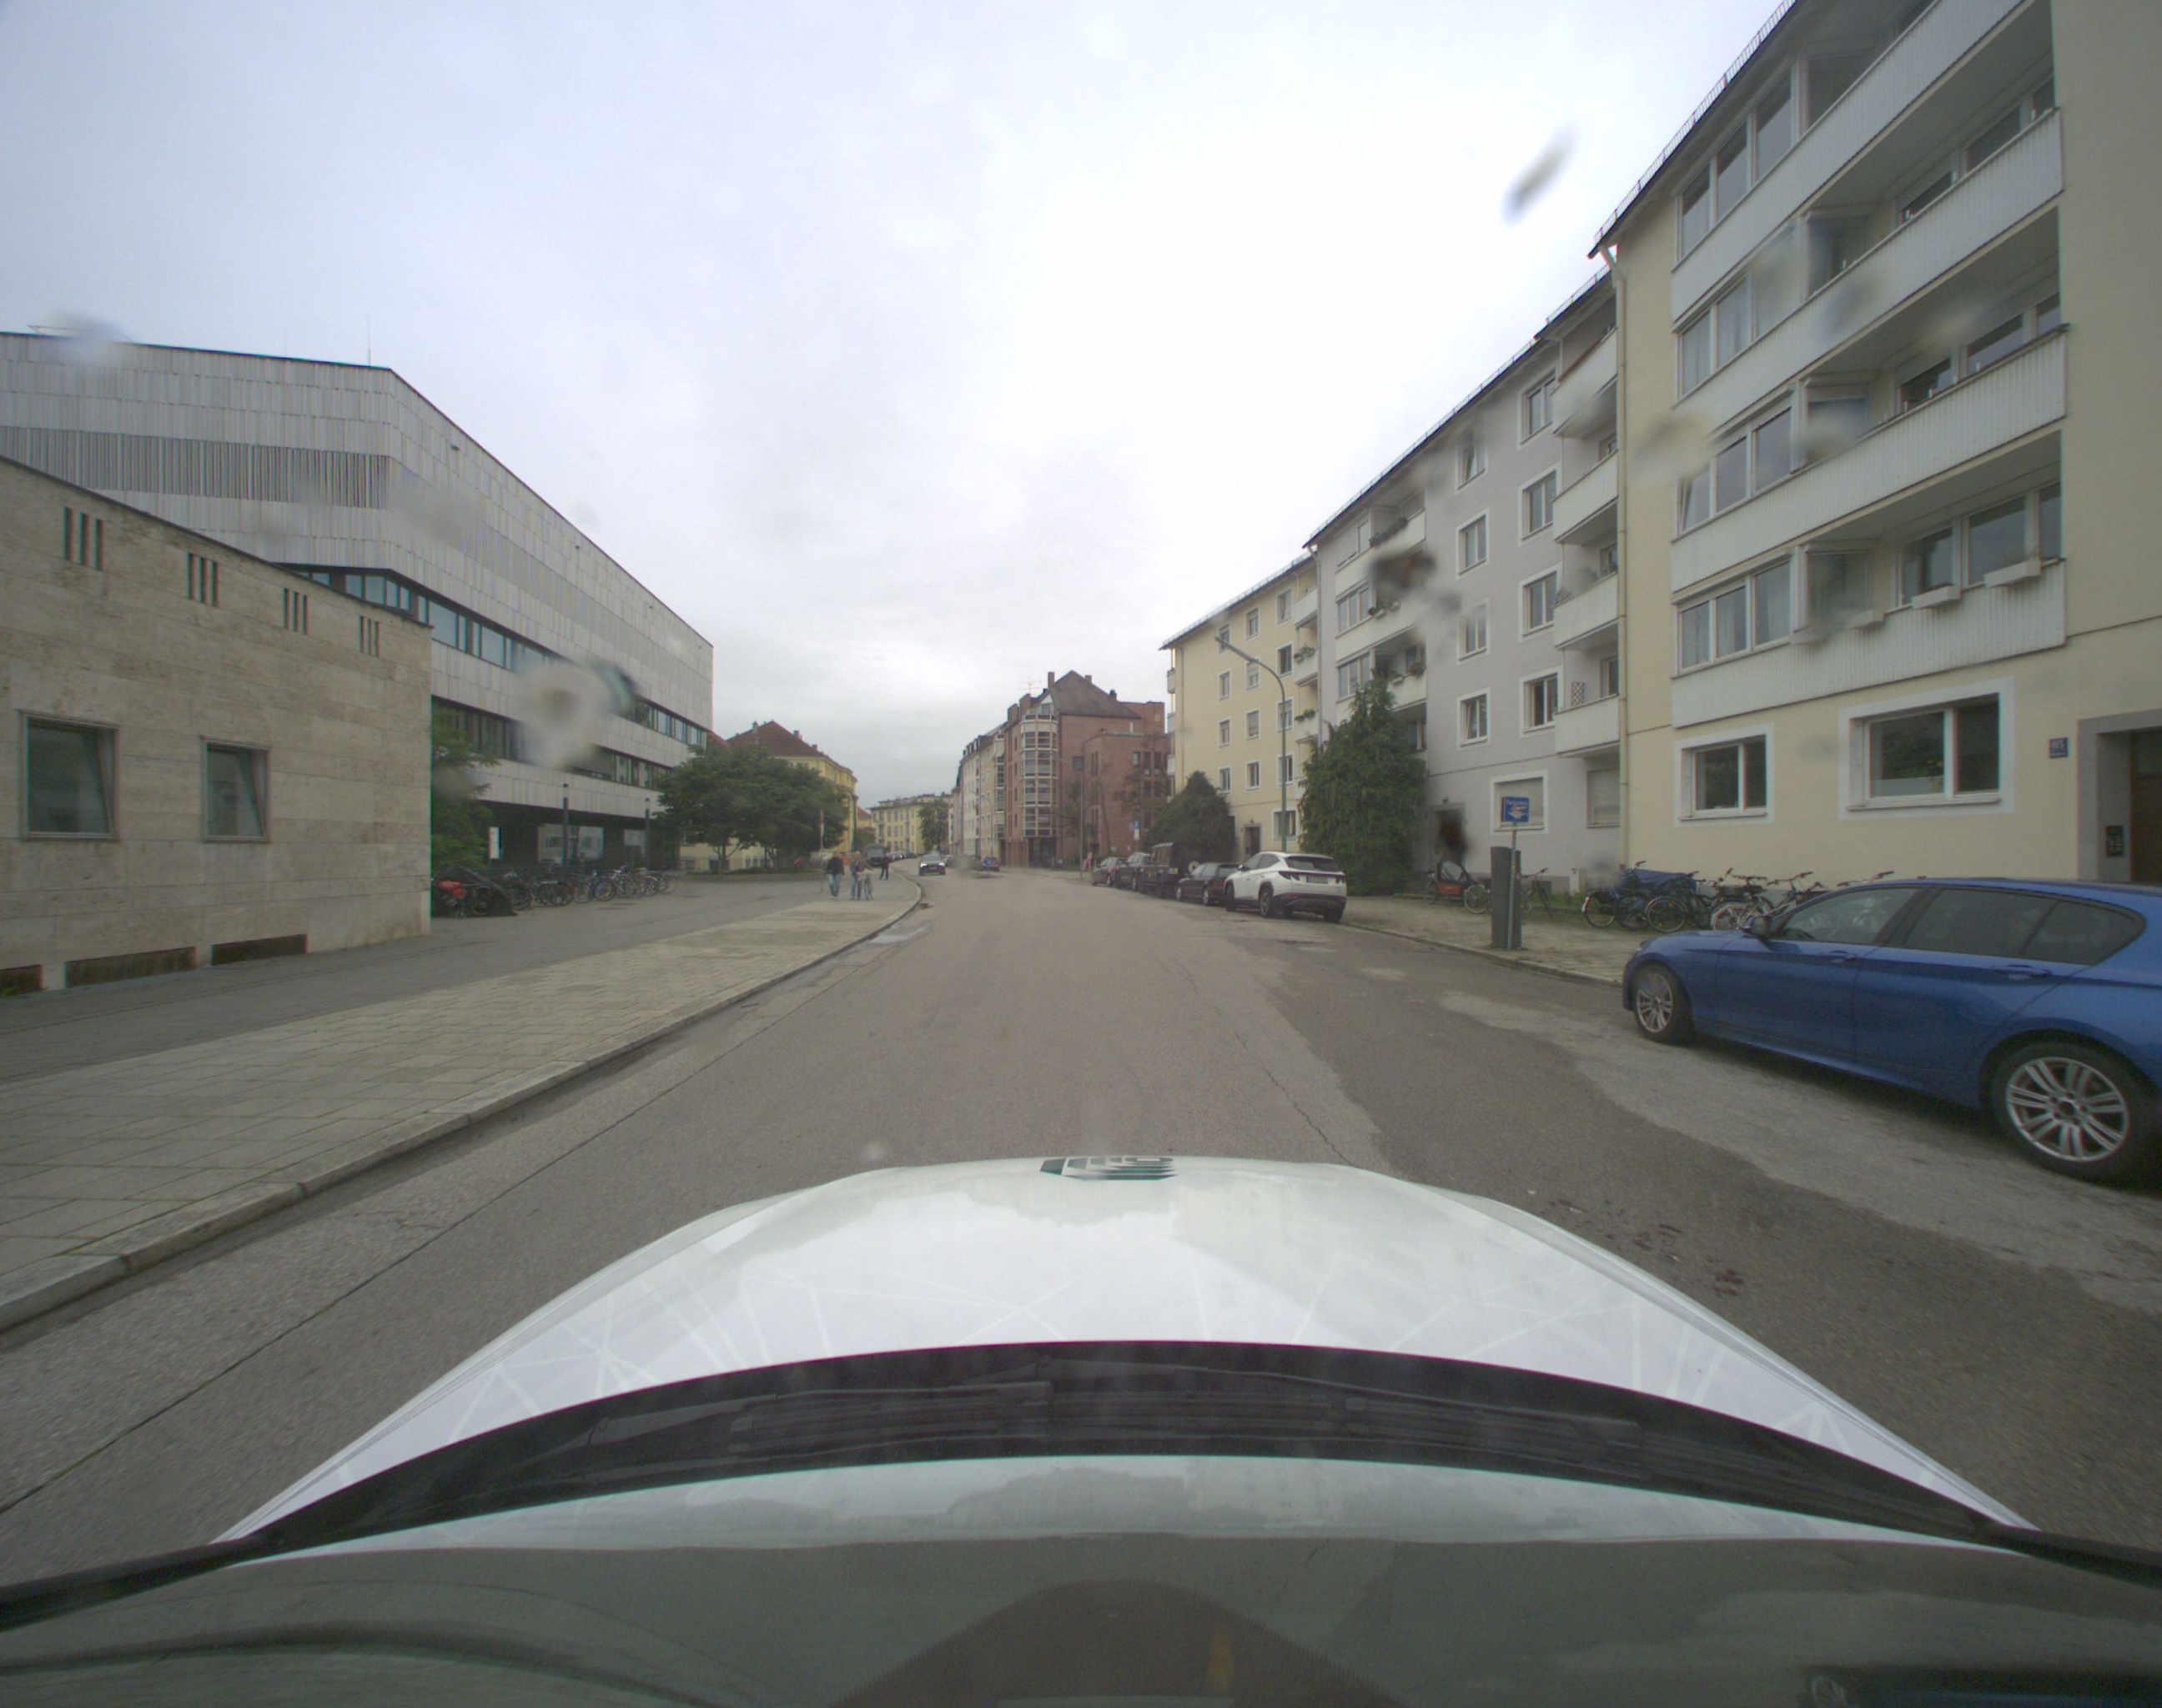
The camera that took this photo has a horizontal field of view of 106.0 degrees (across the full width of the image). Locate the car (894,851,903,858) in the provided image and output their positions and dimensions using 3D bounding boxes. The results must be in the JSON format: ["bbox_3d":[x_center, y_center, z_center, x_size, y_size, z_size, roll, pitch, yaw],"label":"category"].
[{"bbox_3d":[-36.385,0.111,162.360,1.633,1.483,3.597,0,0,-11],"label":"car"}]

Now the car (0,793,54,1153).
[{"bbox_3d":[-6.161,0.560,1.628,2.046,1.736,4.882,0,0,-2],"label":"car"}]

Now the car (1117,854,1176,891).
[{"bbox_3d":[2.769,0.777,35.161,1.780,1.510,3.710,0,0,-8],"label":"car"}]

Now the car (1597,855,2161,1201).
[{"bbox_3d":[5.487,0.744,5.148,1.775,1.438,4.282,0,0,0],"label":"car"}]

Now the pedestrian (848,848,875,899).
[{"bbox_3d":[-7.687,0.679,28.536,0.734,1.768,0.919,0,0,-4],"label":"pedestrian"}]

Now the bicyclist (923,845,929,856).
[{"bbox_3d":[-29.054,-0.665,152.695,1.034,2.014,1.181,1,-2,-11],"label":"bicyclist"}]

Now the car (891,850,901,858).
[{"bbox_3d":[-35.195,0.019,154.873,1.633,1.483,3.597,0,0,-11],"label":"car"}]

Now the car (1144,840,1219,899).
[{"bbox_3d":[3.587,0.524,29.761,1.780,1.976,3.710,-2,0,-8],"label":"car"}]

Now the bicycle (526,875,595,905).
[{"bbox_3d":[-15.950,1.104,24.987,1.649,0.797,0.525,4,-1,-17],"label":"bicycle"}]

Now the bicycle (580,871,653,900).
[{"bbox_3d":[-15.912,1.076,27.948,2.034,0.886,0.672,2,-1,-16],"label":"bicycle"}]

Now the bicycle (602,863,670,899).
[{"bbox_3d":[-16.149,0.983,29.608,2.034,1.156,0.591,4,-1,-16],"label":"bicycle"}]

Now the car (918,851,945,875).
[{"bbox_3d":[-11.780,0.655,64.191,1.994,1.835,4.151,0,0,-11],"label":"car"}]

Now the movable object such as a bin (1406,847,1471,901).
[{"bbox_3d":[10.373,0.556,23.664,1.289,1.434,1.048,-5,1,-8],"label":"movable object such as a bin"}]

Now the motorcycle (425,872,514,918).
[{"bbox_3d":[-14.647,0.969,19.534,1.608,1.069,0.511,0,0,-14],"label":"motorcycle"}]

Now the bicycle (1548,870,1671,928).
[{"bbox_3d":[10.533,0.887,16.257,2.005,1.016,0.774,-2,0,-6],"label":"bicycle"}]

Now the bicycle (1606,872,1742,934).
[{"bbox_3d":[11.086,0.903,15.262,2.004,1.016,0.775,-2,0,-4],"label":"bicycle"}]

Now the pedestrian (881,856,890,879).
[{"bbox_3d":[-12.816,0.876,53.437,0.461,1.460,0.442,0,-1,-4],"label":"pedestrian"}]

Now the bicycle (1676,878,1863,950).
[{"bbox_3d":[10.935,0.941,12.995,2.225,1.069,0.919,0,0,0],"label":"bicycle"}]

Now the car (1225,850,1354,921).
[{"bbox_3d":[5.083,0.702,20.449,1.829,1.574,3.990,0,0,-7],"label":"car"}]

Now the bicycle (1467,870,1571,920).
[{"bbox_3d":[10.050,0.925,18.713,2.005,1.016,0.774,-2,0,-6],"label":"bicycle"}]

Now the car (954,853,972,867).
[{"bbox_3d":[-13.094,0.617,90.258,1.635,1.483,3.592,0,0,-15],"label":"car"}]

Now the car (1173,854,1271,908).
[{"bbox_3d":[4.286,0.781,25.380,1.782,1.519,3.705,1,0,-11],"label":"car"}]

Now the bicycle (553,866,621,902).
[{"bbox_3d":[-15.921,0.970,26.262,1.730,1.033,0.525,4,-1,-17],"label":"bicycle"}]

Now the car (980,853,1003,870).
[{"bbox_3d":[-8.336,0.678,75.325,1.635,1.483,3.592,0,0,-15],"label":"car"}]

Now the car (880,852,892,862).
[{"bbox_3d":[-30.358,0.457,126.694,1.635,1.483,3.592,0,0,-15],"label":"car"}]

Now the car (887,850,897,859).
[{"bbox_3d":[-33.653,0.104,144.898,1.633,1.483,3.597,0,0,-11],"label":"car"}]

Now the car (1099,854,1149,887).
[{"bbox_3d":[2.018,0.772,39.566,1.780,1.510,3.710,0,0,-8],"label":"car"}]

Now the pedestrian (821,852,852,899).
[{"bbox_3d":[-8.600,0.730,28.656,0.757,1.630,0.922,0,0,5],"label":"pedestrian"}]

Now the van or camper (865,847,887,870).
[{"bbox_3d":[-23.146,0.485,92.051,2.098,2.551,4.752,0,0,-12],"label":"van or camper"}]

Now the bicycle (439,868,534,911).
[{"bbox_3d":[-15.736,0.940,21.602,1.911,1.033,0.537,4,-1,-14],"label":"bicycle"}]

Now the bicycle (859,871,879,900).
[{"bbox_3d":[-7.433,1.096,28.630,0.388,0.969,1.713,0,0,-4],"label":"bicycle"}]

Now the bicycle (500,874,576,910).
[{"bbox_3d":[-15.521,1.085,23.301,1.647,0.913,0.594,4,-1,-14],"label":"bicycle"}]

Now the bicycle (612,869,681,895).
[{"bbox_3d":[-16.445,1.063,30.889,2.119,0.878,0.824,4,-1,-16],"label":"bicycle"}]

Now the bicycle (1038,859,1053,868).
[{"bbox_3d":[-3.609,0.939,82.955,1.104,0.854,1.717,0,0,-18],"label":"bicycle"}]

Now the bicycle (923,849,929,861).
[{"bbox_3d":[-29.077,0.226,152.975,1.026,2.014,3.268,0,-4,-10],"label":"bicycle"}]

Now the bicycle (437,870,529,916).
[{"bbox_3d":[-14.880,0.968,20.314,1.710,1.033,0.537,4,-1,-14],"label":"bicycle"}]

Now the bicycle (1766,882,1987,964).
[{"bbox_3d":[11.144,0.951,11.467,2.225,1.069,0.919,0,0,0],"label":"bicycle"}]

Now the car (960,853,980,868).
[{"bbox_3d":[-11.661,0.672,85.275,1.635,1.483,3.592,0,0,-15],"label":"car"}]
